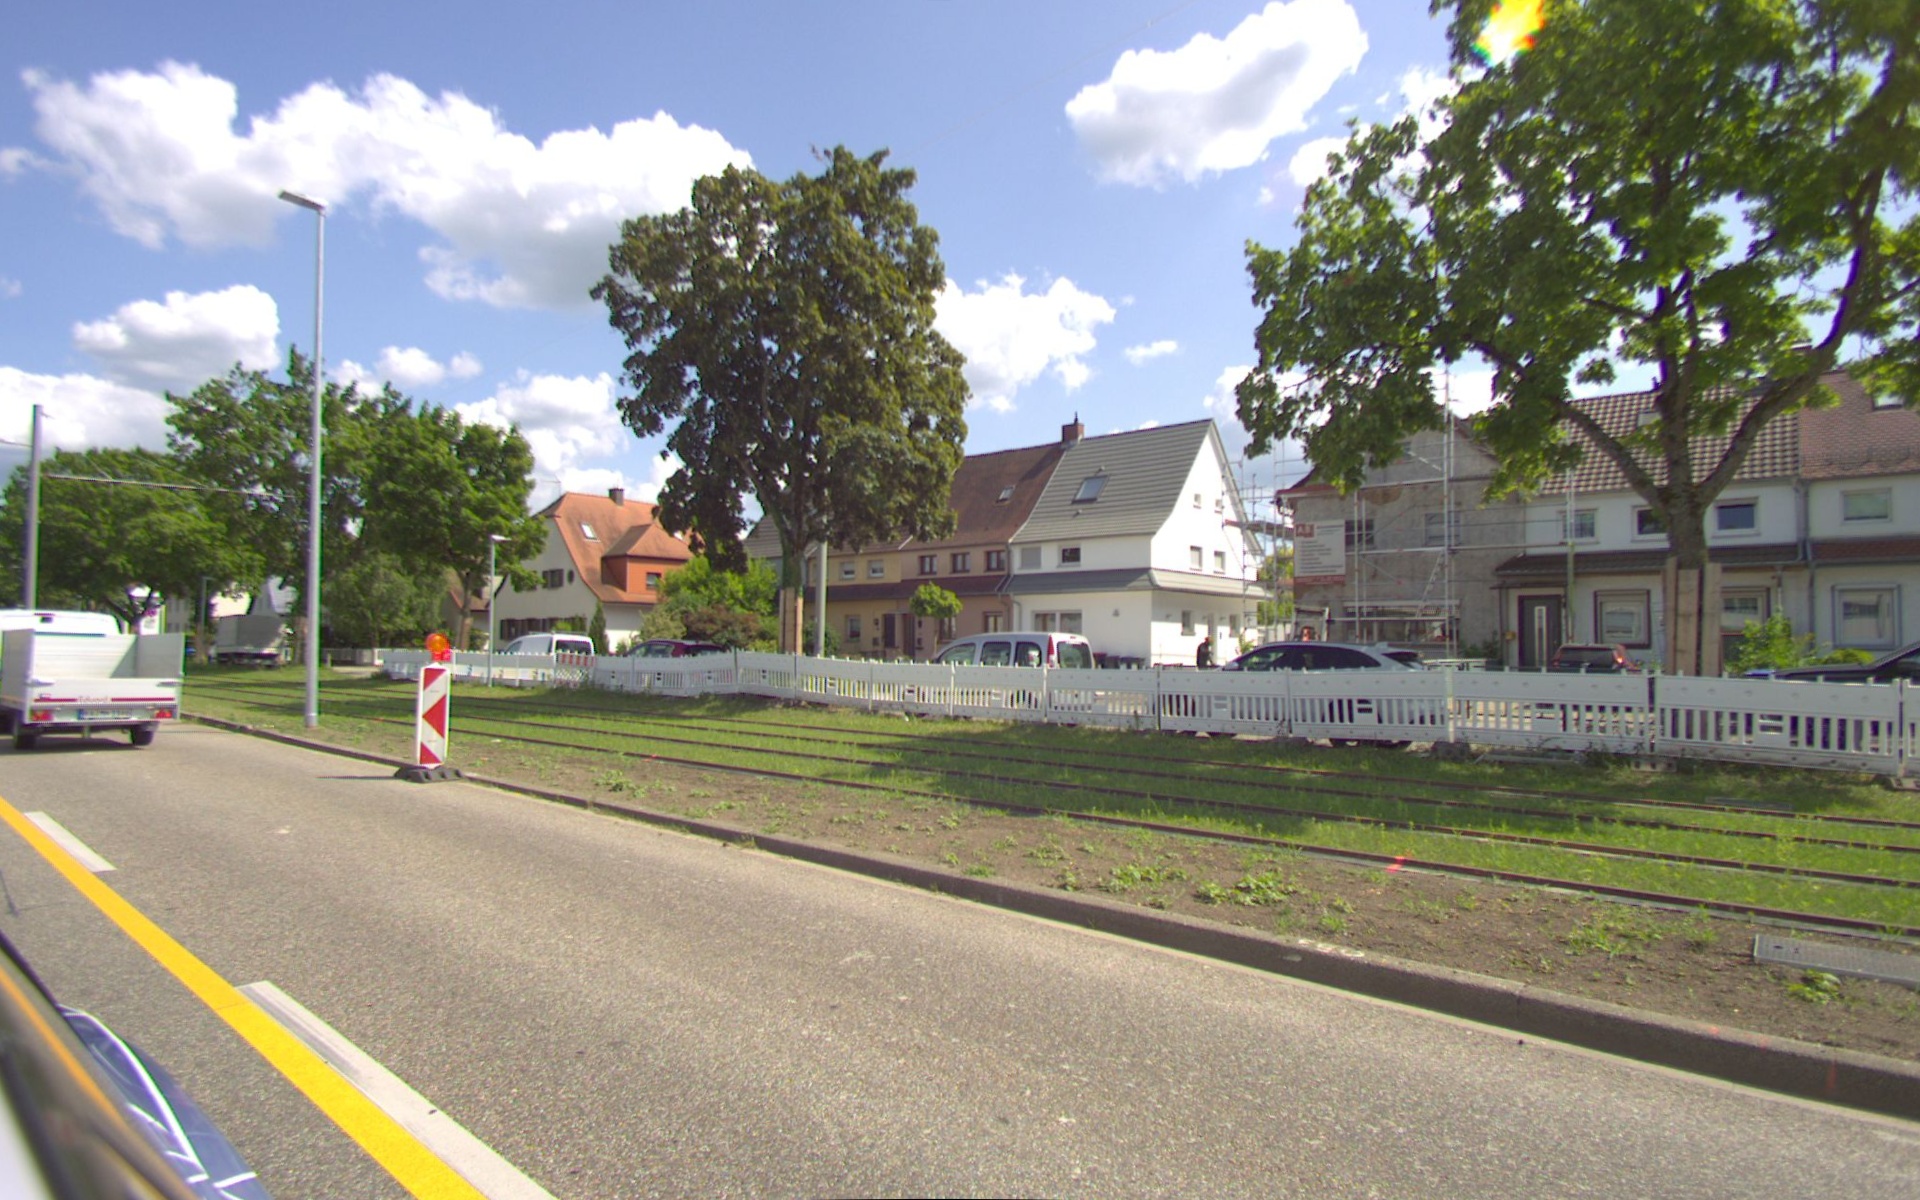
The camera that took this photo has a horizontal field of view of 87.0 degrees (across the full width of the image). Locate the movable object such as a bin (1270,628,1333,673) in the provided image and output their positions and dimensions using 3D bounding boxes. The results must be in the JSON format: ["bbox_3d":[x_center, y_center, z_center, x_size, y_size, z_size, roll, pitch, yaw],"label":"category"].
[{"bbox_3d":[9.771,1.431,29.070,1.441,1.207,1.892,-1,-1,11],"label":"movable object such as a bin"}]

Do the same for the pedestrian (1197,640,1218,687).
[{"bbox_3d":[7.511,1.922,30.752,0.471,1.387,0.418,-1,-1,40],"label":"pedestrian"}]

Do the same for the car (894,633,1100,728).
[{"bbox_3d":[0.656,1.515,19.920,3.897,1.664,1.606,-1,-4,41],"label":"car"}]

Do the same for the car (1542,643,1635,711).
[{"bbox_3d":[14.567,1.737,23.412,1.286,1.390,2.776,-1,-1,43],"label":"car"}]

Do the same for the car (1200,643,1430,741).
[{"bbox_3d":[5.483,1.393,15.797,3.112,1.388,1.336,-3,-5,41],"label":"car"}]

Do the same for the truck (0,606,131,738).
[{"bbox_3d":[-15.623,1.114,16.848,5.112,1.924,1.801,-1,-5,40],"label":"truck"}]

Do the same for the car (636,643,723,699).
[{"bbox_3d":[-7.315,1.819,26.349,2.450,1.358,1.060,-2,-4,45],"label":"car"}]

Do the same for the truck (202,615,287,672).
[{"bbox_3d":[-37.772,2.254,53.370,5.948,2.826,2.340,-1,-1,41],"label":"truck"}]

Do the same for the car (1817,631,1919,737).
[{"bbox_3d":[14.497,1.202,14.512,3.309,1.507,1.369,-2,-4,41],"label":"car"}]

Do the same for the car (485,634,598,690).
[{"bbox_3d":[-13.202,1.915,31.856,3.998,1.638,1.636,-1,-4,41],"label":"car"}]

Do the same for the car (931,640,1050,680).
[{"bbox_3d":[1.021,2.070,35.467,4.118,1.285,1.518,-1,-4,41],"label":"car"}]

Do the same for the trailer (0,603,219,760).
[{"bbox_3d":[-12.690,1.082,14.514,5.482,1.849,2.041,-1,-5,41],"label":"trailer"}]

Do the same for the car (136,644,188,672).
[{"bbox_3d":[-46.951,3.402,59.525,3.928,1.524,1.651,-1,-1,41],"label":"car"}]
